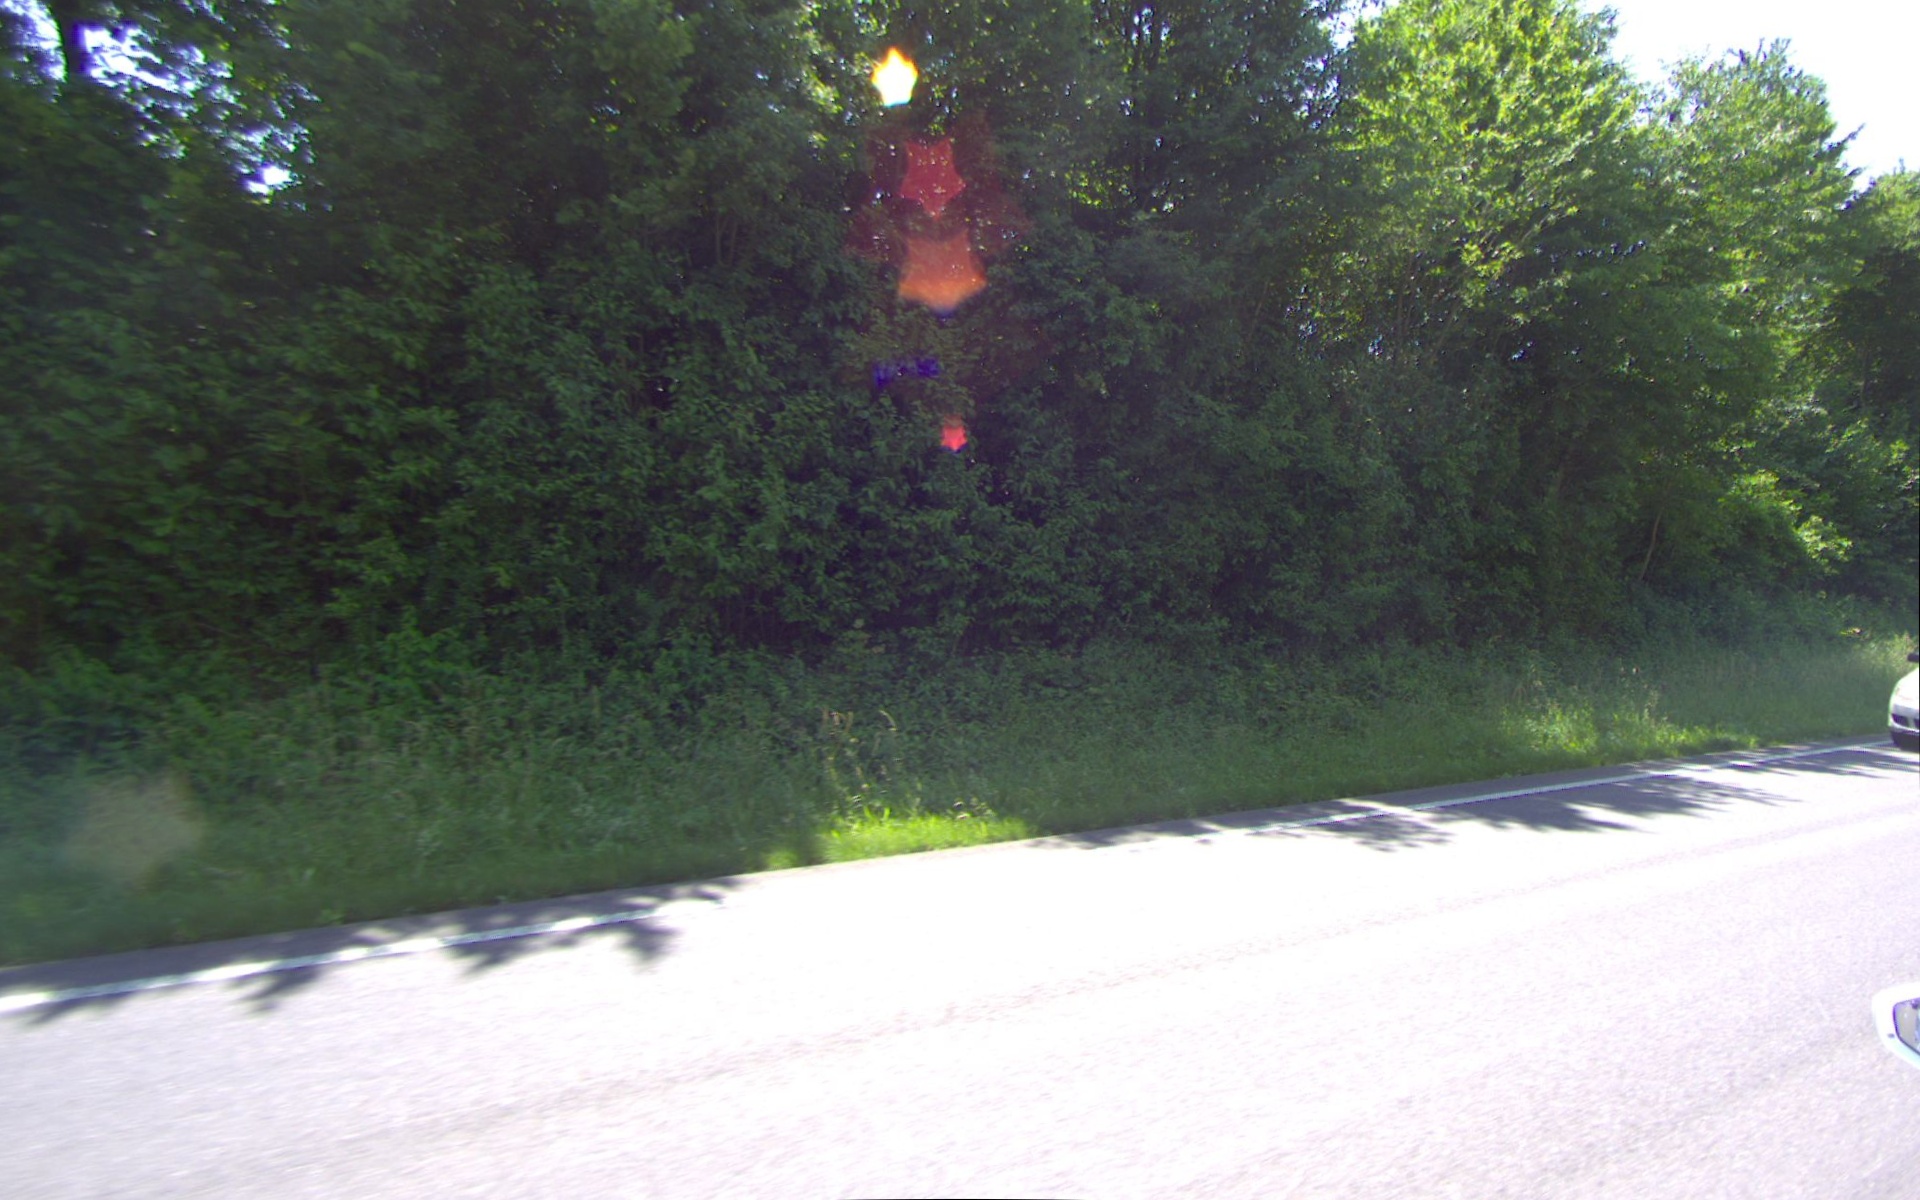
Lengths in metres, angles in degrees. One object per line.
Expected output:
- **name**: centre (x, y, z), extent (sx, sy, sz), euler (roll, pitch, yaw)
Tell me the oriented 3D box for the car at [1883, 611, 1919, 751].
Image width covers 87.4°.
- **car**: centre (12.919, 0.971, 12.170), extent (3.748, 1.613, 1.505), euler (1, 0, -30)
